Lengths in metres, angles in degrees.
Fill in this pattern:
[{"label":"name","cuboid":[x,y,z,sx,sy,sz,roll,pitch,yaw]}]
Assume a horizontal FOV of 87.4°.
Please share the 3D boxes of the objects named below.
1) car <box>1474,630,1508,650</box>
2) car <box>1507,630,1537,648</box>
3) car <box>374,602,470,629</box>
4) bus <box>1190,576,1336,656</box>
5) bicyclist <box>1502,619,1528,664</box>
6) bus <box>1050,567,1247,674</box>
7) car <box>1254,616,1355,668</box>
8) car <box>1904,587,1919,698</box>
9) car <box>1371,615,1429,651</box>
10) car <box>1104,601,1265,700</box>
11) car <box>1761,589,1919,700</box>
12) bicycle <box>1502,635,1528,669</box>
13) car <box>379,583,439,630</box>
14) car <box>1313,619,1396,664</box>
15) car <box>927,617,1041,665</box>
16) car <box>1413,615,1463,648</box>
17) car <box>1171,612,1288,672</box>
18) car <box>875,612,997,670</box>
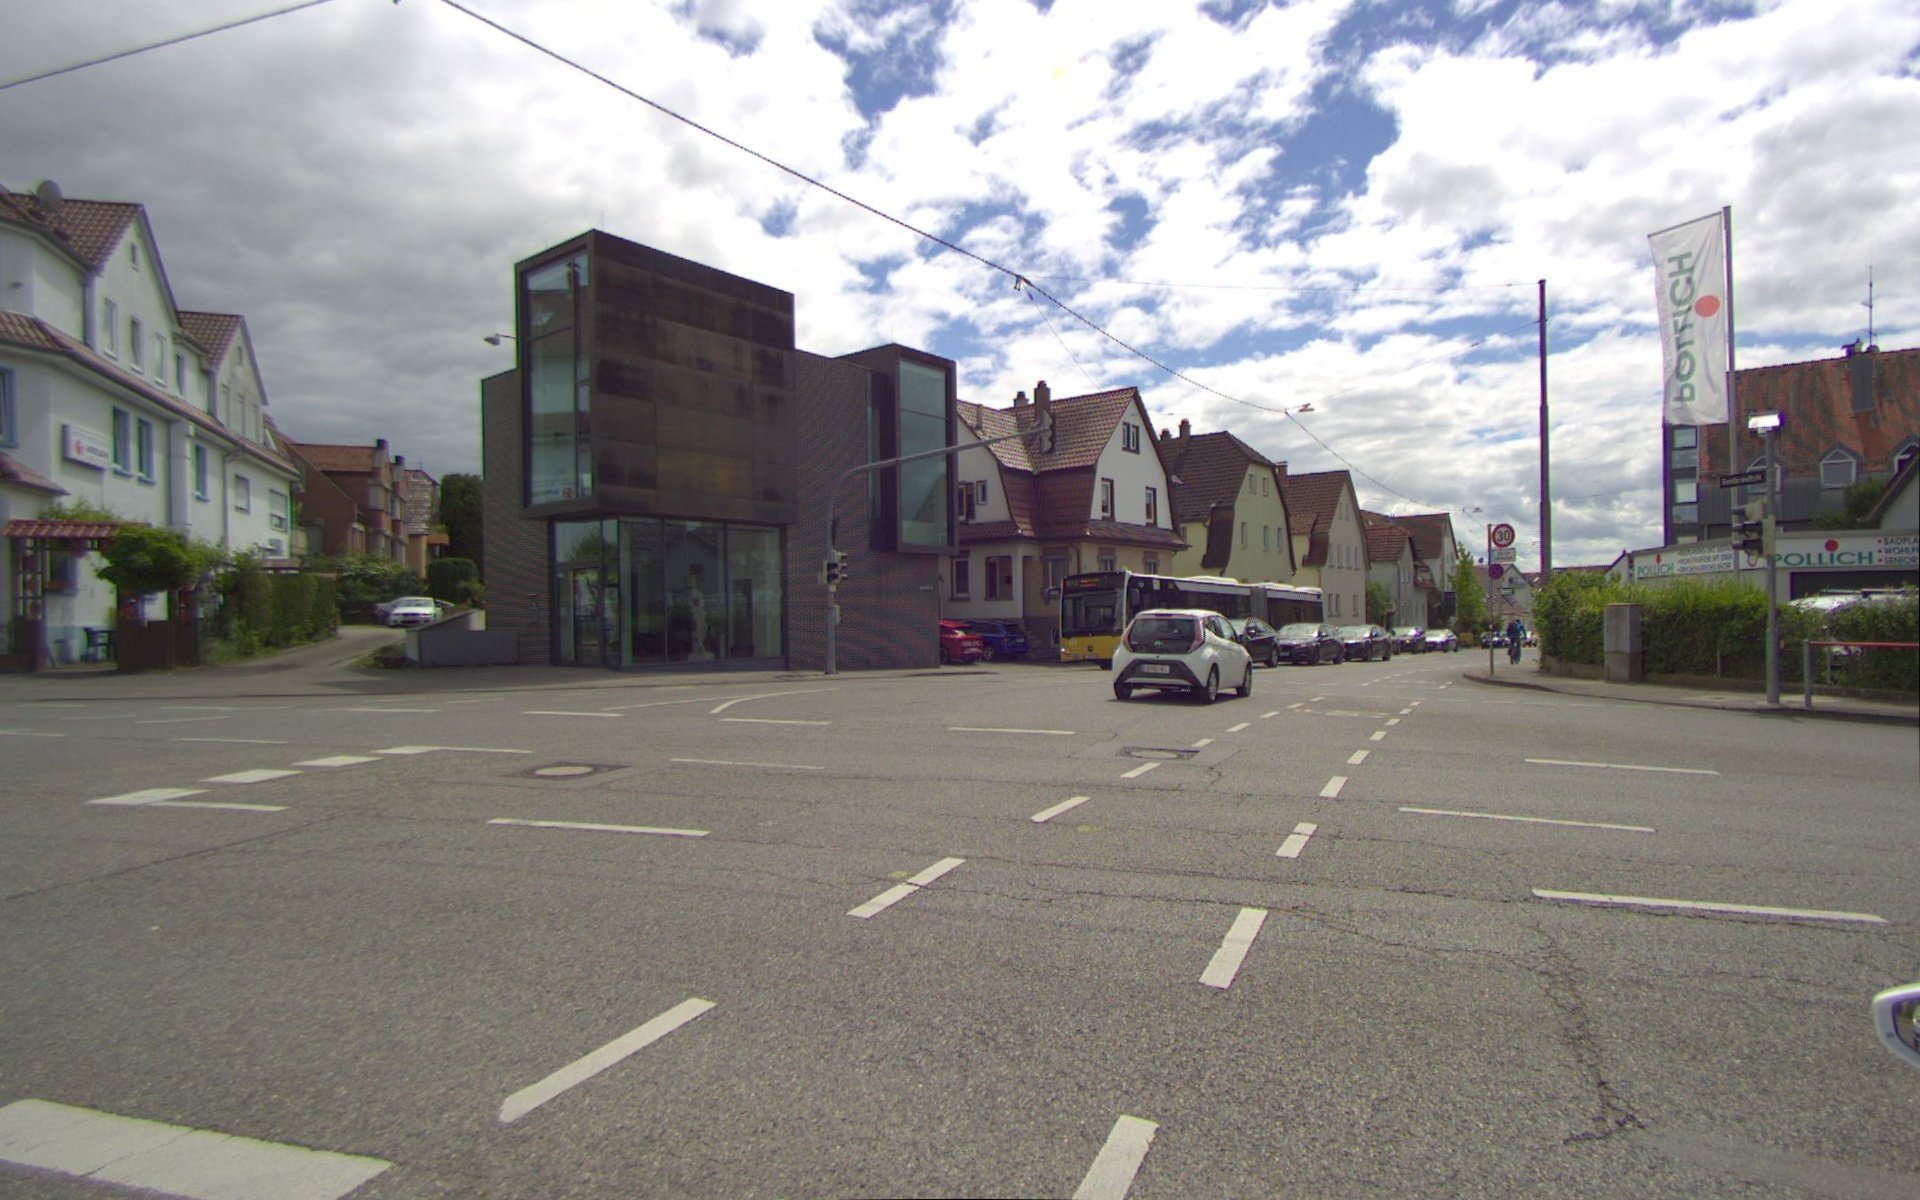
[{"label":"car","cuboid":[47.951,3.608,90.697,1.969,1.662,3.982,0,-1,39]},{"label":"car","cuboid":[57.145,3.950,102.077,1.969,1.662,3.982,0,-1,39]},{"label":"car","cuboid":[-26.374,0.767,49.386,3.936,1.327,1.528,0,-1,-18]},{"label":"bus","cuboid":[12.716,0.638,41.493,2.743,2.953,9.155,0,-1,37]},{"label":"bicyclist","cuboid":[21.109,1.570,38.211,0.828,1.636,1.081,1,0,30]},{"label":"bus","cuboid":[6.633,0.659,33.828,2.743,3.101,9.155,0,-1,37]},{"label":"car","cuboid":[11.814,1.378,34.294,1.969,1.662,4.164,0,-1,39]},{"label":"car","cuboid":[18.840,0.760,16.841,3.919,1.973,2.001,0,-1,13]},{"label":"car","cuboid":[25.662,1.891,58.493,1.971,2.040,3.979,0,-1,42]},{"label":"car","cuboid":[3.880,0.872,16.968,1.713,1.479,3.527,-1,-4,29]},{"label":"car","cuboid":[18.254,0.829,19.348,3.919,2.040,2.001,0,-1,14]},{"label":"bicycle","cuboid":[21.080,1.950,38.156,0.820,1.179,2.187,0,-1,30]},{"label":"car","cuboid":[-24.946,0.302,45.604,1.972,2.040,3.977,0,-1,-23]},{"label":"car","cuboid":[15.696,1.589,39.865,1.969,1.662,3.982,0,-1,39]},{"label":"car","cuboid":[0.906,1.515,38.395,3.935,1.706,1.993,0,-1,36]},{"label":"car","cuboid":[30.404,1.985,63.870,1.970,2.040,3.982,0,-1,39]},{"label":"car","cuboid":[8.202,1.217,30.344,1.969,1.662,3.982,0,-1,39]},{"label":"car","cuboid":[-0.876,1.425,36.076,3.934,1.662,1.993,5,2,36]}]
